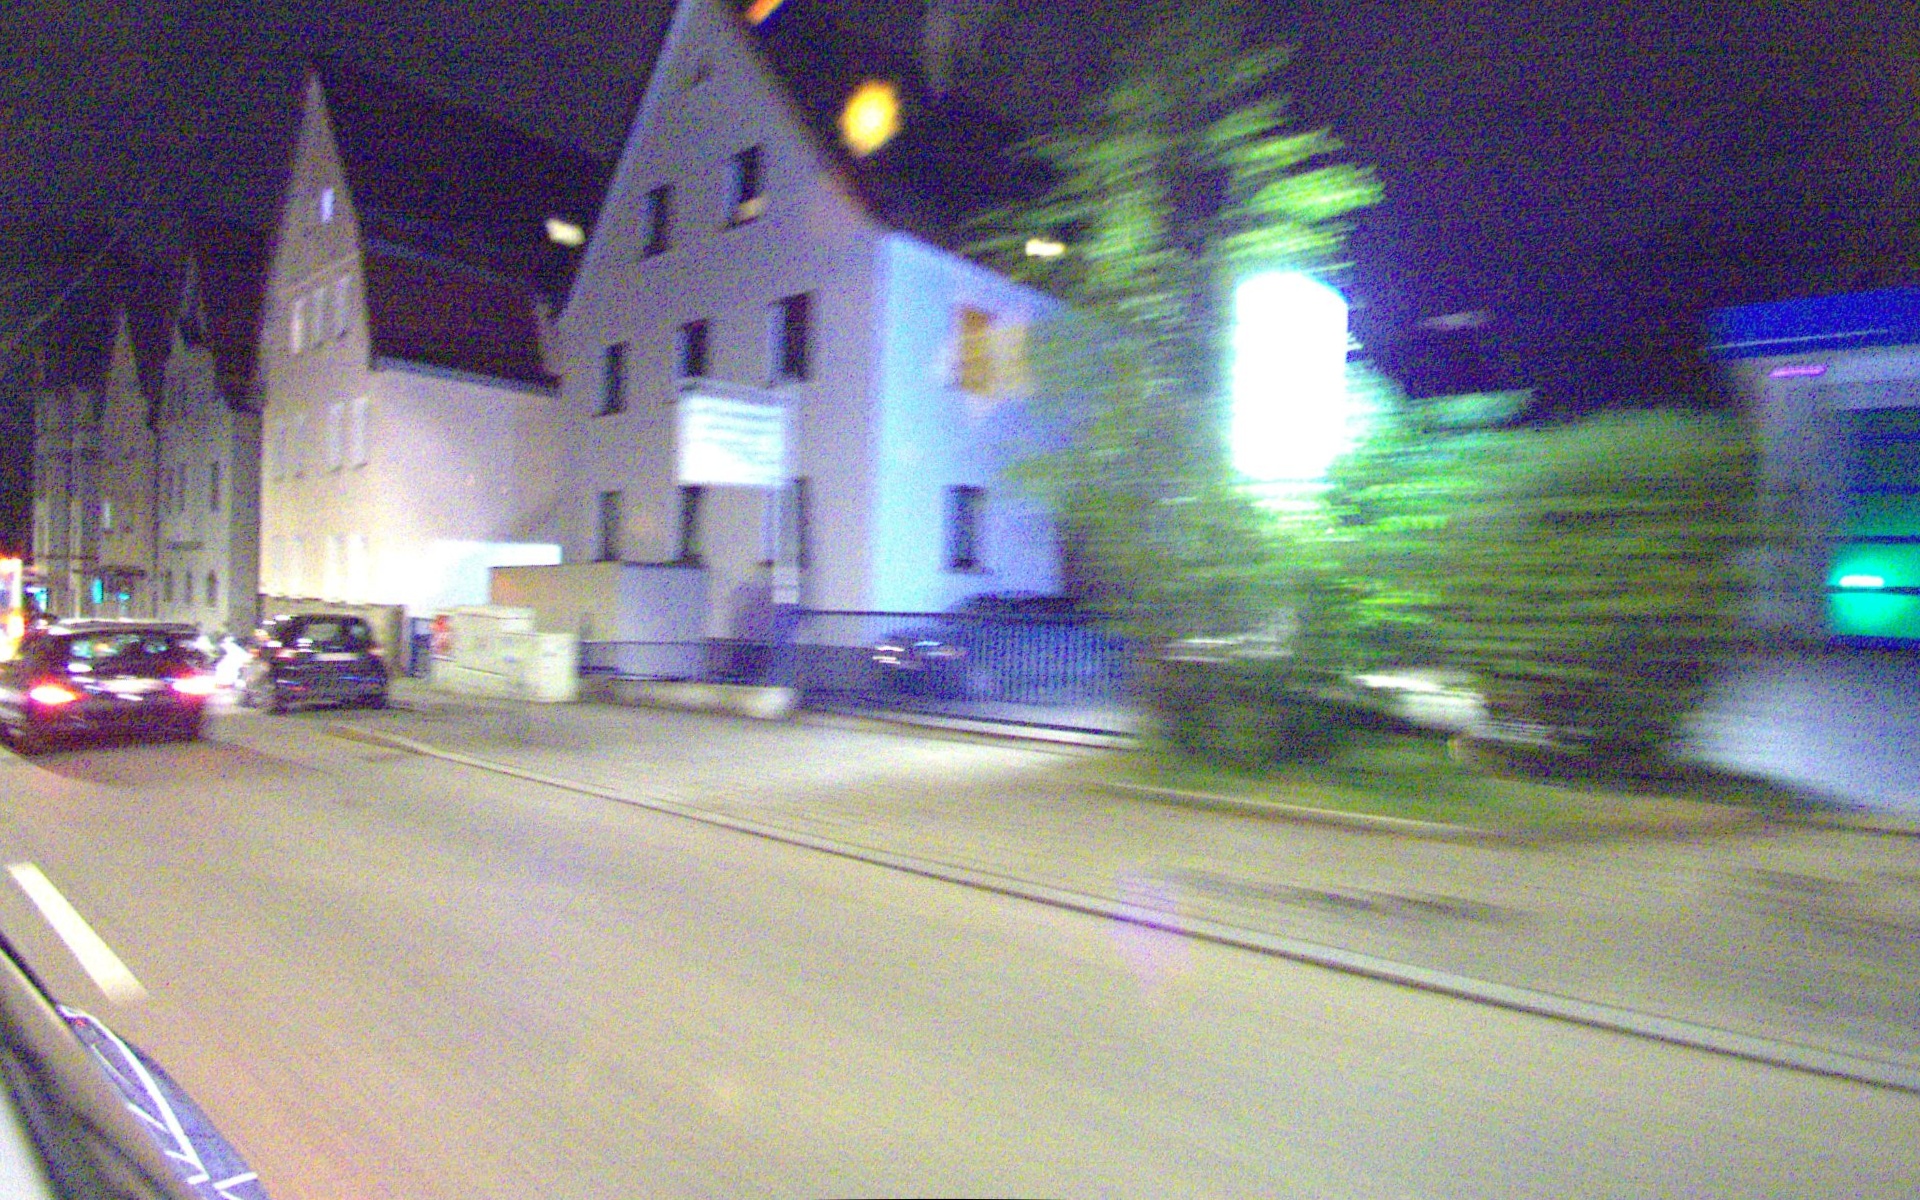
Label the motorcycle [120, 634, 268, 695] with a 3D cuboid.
[{"bbox_3d":[-14.820,1.237,19.647,2.171,1.139,0.718,0,-2,-16],"label":"motorcycle"}]

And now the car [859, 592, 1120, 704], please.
[{"bbox_3d":[0.583,0.645,16.072,1.873,1.516,4.180,1,1,43],"label":"car"}]

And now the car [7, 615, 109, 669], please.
[{"bbox_3d":[-28.608,1.281,32.070,4.277,1.503,1.844,0,0,40],"label":"car"}]

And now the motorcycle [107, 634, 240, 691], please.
[{"bbox_3d":[-16.302,1.285,21.018,2.177,1.156,0.716,0,-2,-1],"label":"motorcycle"}]

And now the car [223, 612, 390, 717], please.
[{"bbox_3d":[-10.540,0.959,16.279,2.765,1.509,1.621,0,-1,43],"label":"car"}]

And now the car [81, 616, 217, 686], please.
[{"bbox_3d":[-19.143,1.159,23.828,4.225,1.503,1.686,-1,-3,40],"label":"car"}]

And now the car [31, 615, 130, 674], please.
[{"bbox_3d":[-25.268,1.226,29.045,3.778,1.503,1.605,0,0,40],"label":"car"}]

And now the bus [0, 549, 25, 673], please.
[{"bbox_3d":[-28.412,0.354,28.136,7.657,3.201,2.808,-1,-1,42],"label":"bus"}]

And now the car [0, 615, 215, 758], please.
[{"bbox_3d":[-10.440,0.917,12.083,3.867,1.433,1.629,-1,-2,40],"label":"car"}]
